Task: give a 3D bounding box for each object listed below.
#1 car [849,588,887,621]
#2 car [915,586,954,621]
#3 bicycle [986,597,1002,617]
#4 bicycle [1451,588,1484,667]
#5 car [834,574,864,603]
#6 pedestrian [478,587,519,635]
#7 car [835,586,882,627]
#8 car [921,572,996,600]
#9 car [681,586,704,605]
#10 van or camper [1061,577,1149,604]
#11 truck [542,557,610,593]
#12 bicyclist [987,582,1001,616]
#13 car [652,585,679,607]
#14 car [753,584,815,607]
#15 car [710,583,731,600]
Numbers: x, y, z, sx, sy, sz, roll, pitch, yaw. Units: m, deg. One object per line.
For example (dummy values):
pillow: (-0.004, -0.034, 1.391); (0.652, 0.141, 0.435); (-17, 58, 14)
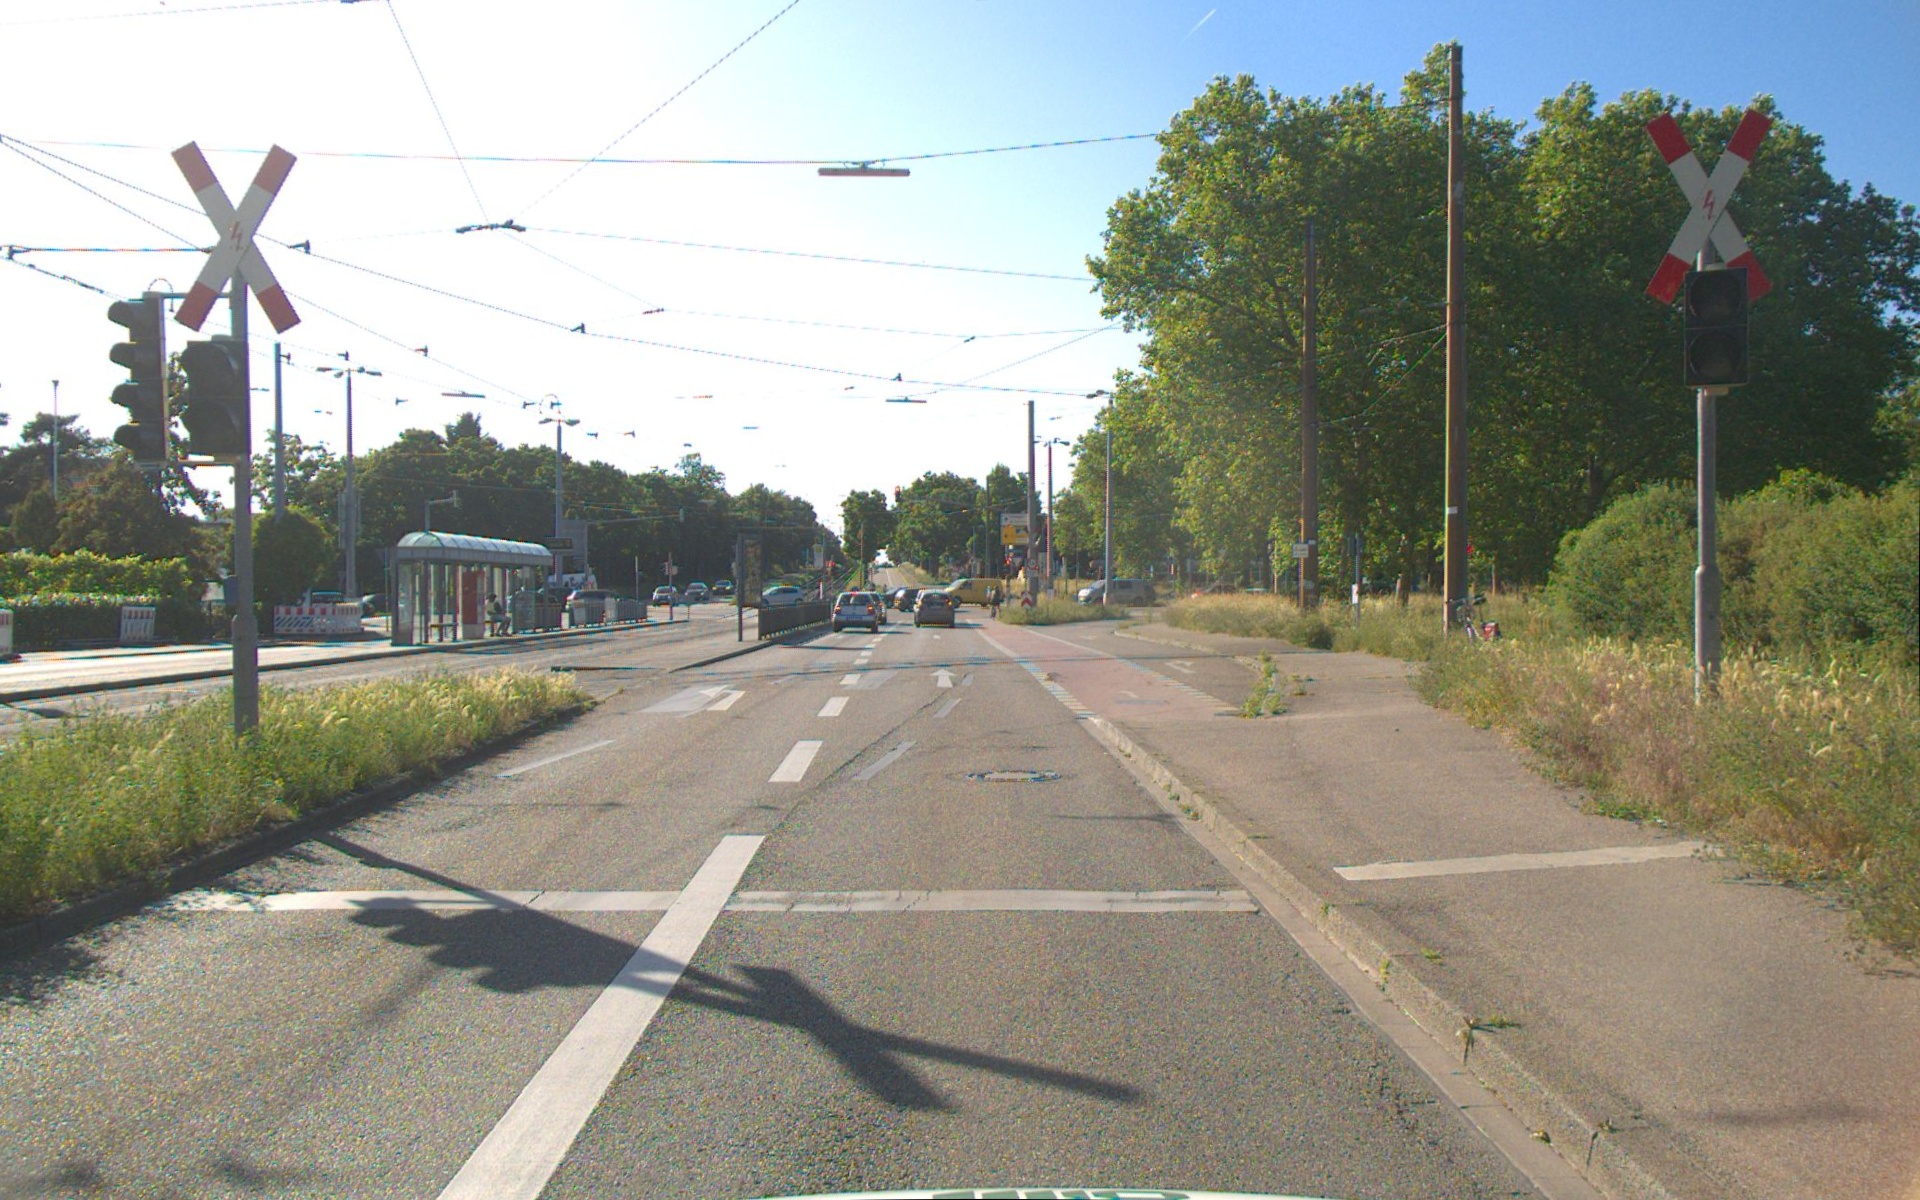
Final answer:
car: (-4.240, 0.200, 76.826); (1.586, 1.482, 4.084); (0, 0, -1)
car: (-1.108, 0.132, 71.352); (1.635, 1.487, 3.585); (0, 0, -2)
bicycle: (1.763, 0.345, 85.488); (0.707, 1.006, 2.875); (1, 0, -1)
bicycle: (7.723, 0.392, 25.190); (0.357, 1.155, 2.097); (0, 0, 14)
car: (-8.170, -0.815, 121.866); (1.953, 2.049, 4.491); (1, 0, -1)
pedestrian: (-14.637, 0.336, 52.472); (1.039, 1.478, 1.007); (-1, 0, -2)
car: (-3.770, 0.232, 61.587); (1.586, 1.442, 3.350); (-1, 0, -1)
car: (-0.119, -0.972, 119.021); (5.096, 1.912, 1.982); (1, 0, -28)
car: (-23.230, -0.385, 143.663); (1.797, 1.575, 4.278); (-1, 0, -7)
van or camper: (10.154, -0.666, 116.050); (5.853, 1.860, 1.997); (0, 0, -6)
truck: (-28.610, -1.837, 123.446); (1.951, 2.610, 6.828); (0, 0, 15)
bicyclist: (1.772, -0.068, 85.409); (0.652, 1.746, 0.948); (1, 0, -1)
car: (-22.071, -0.300, 124.110); (1.797, 1.575, 3.994); (-1, 0, -7)
car: (-12.013, -0.289, 112.931); (3.932, 1.499, 1.740); (1, 0, -23)
car: (-23.527, -0.829, 162.633); (1.956, 1.632, 4.747); (1, 1, -8)
